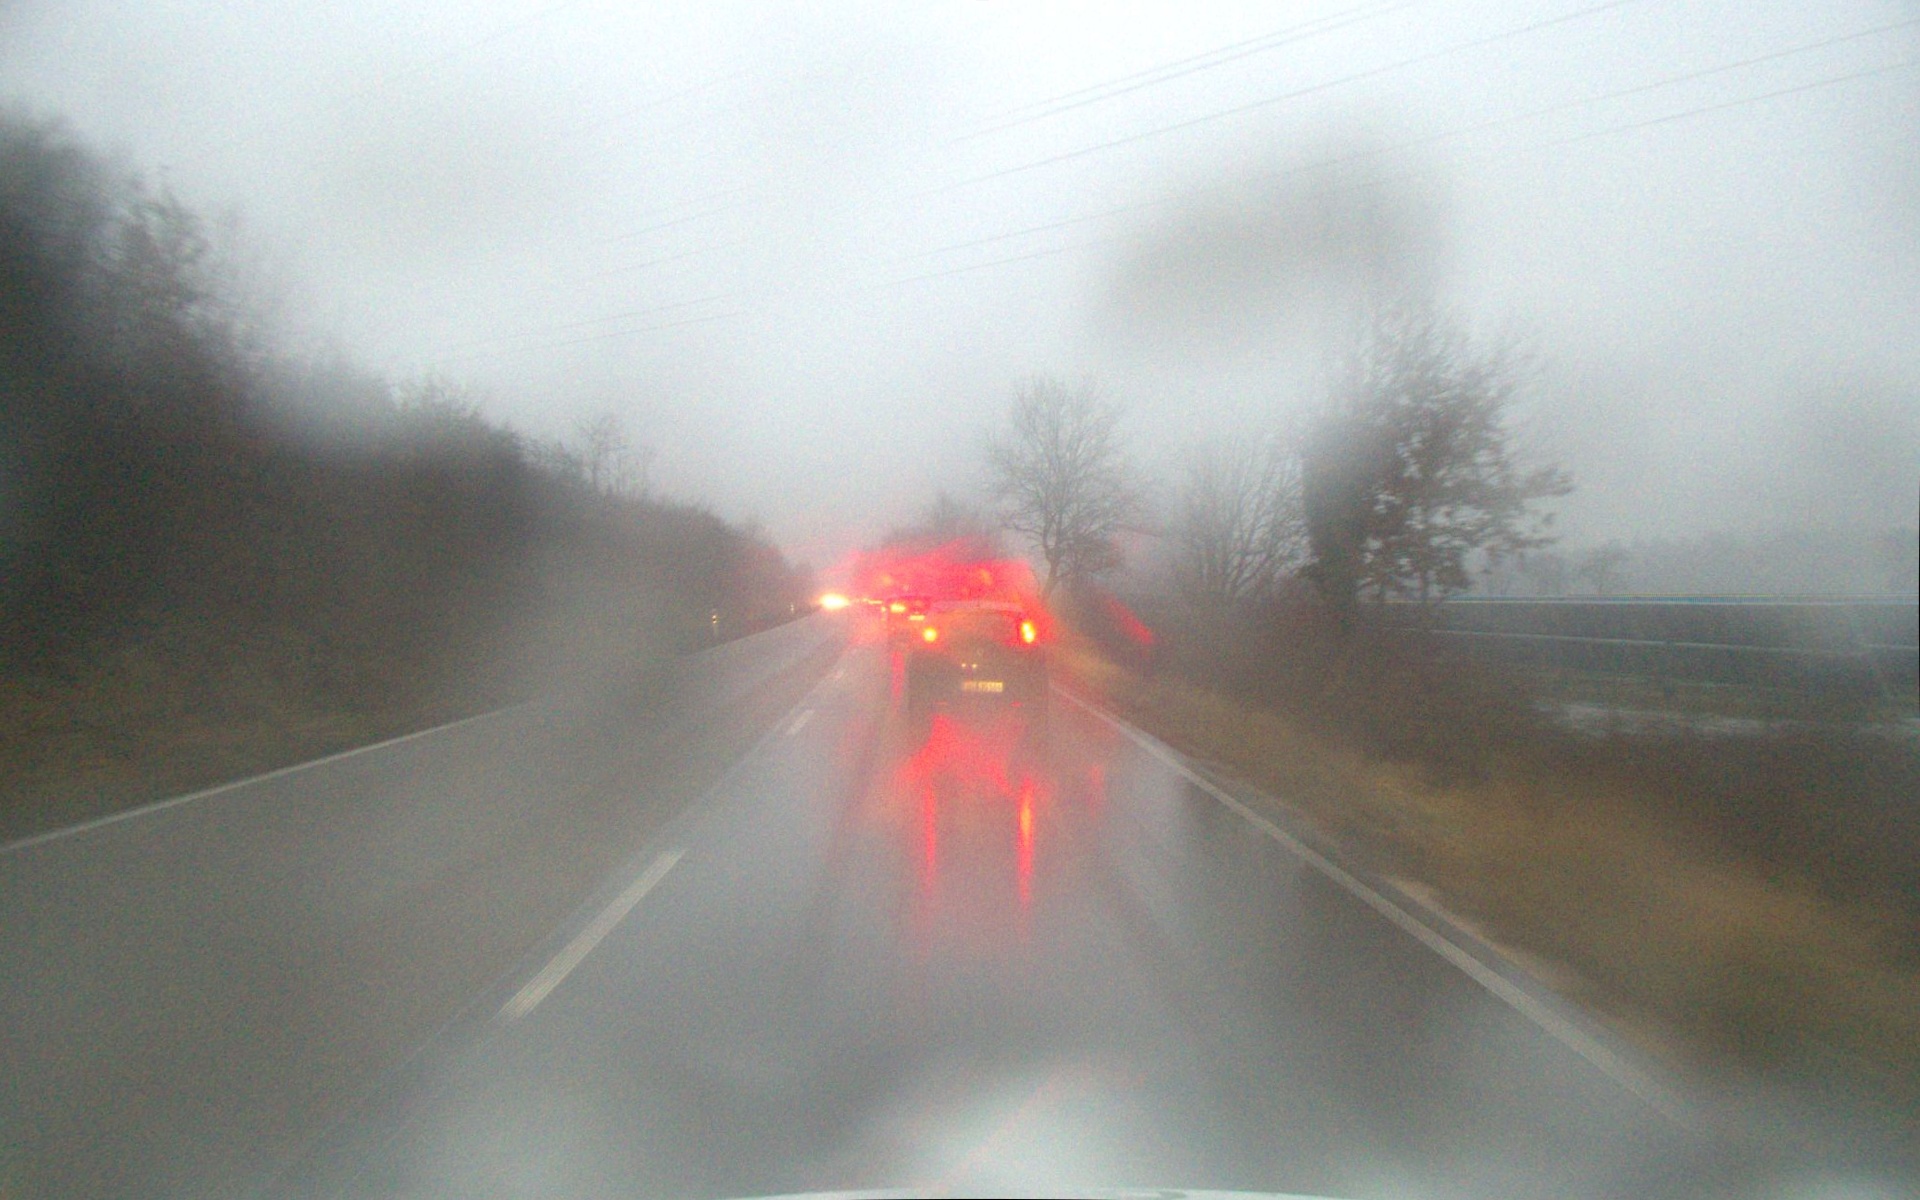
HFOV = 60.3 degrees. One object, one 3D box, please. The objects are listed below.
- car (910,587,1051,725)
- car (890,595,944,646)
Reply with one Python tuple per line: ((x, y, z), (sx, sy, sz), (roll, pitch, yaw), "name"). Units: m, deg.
((0.240, 0.626, 20.640), (1.569, 1.548, 3.869), (1, 0, 0), "car")
((-1.243, 0.570, 48.913), (1.515, 1.421, 3.869), (1, 0, -1), "car")
